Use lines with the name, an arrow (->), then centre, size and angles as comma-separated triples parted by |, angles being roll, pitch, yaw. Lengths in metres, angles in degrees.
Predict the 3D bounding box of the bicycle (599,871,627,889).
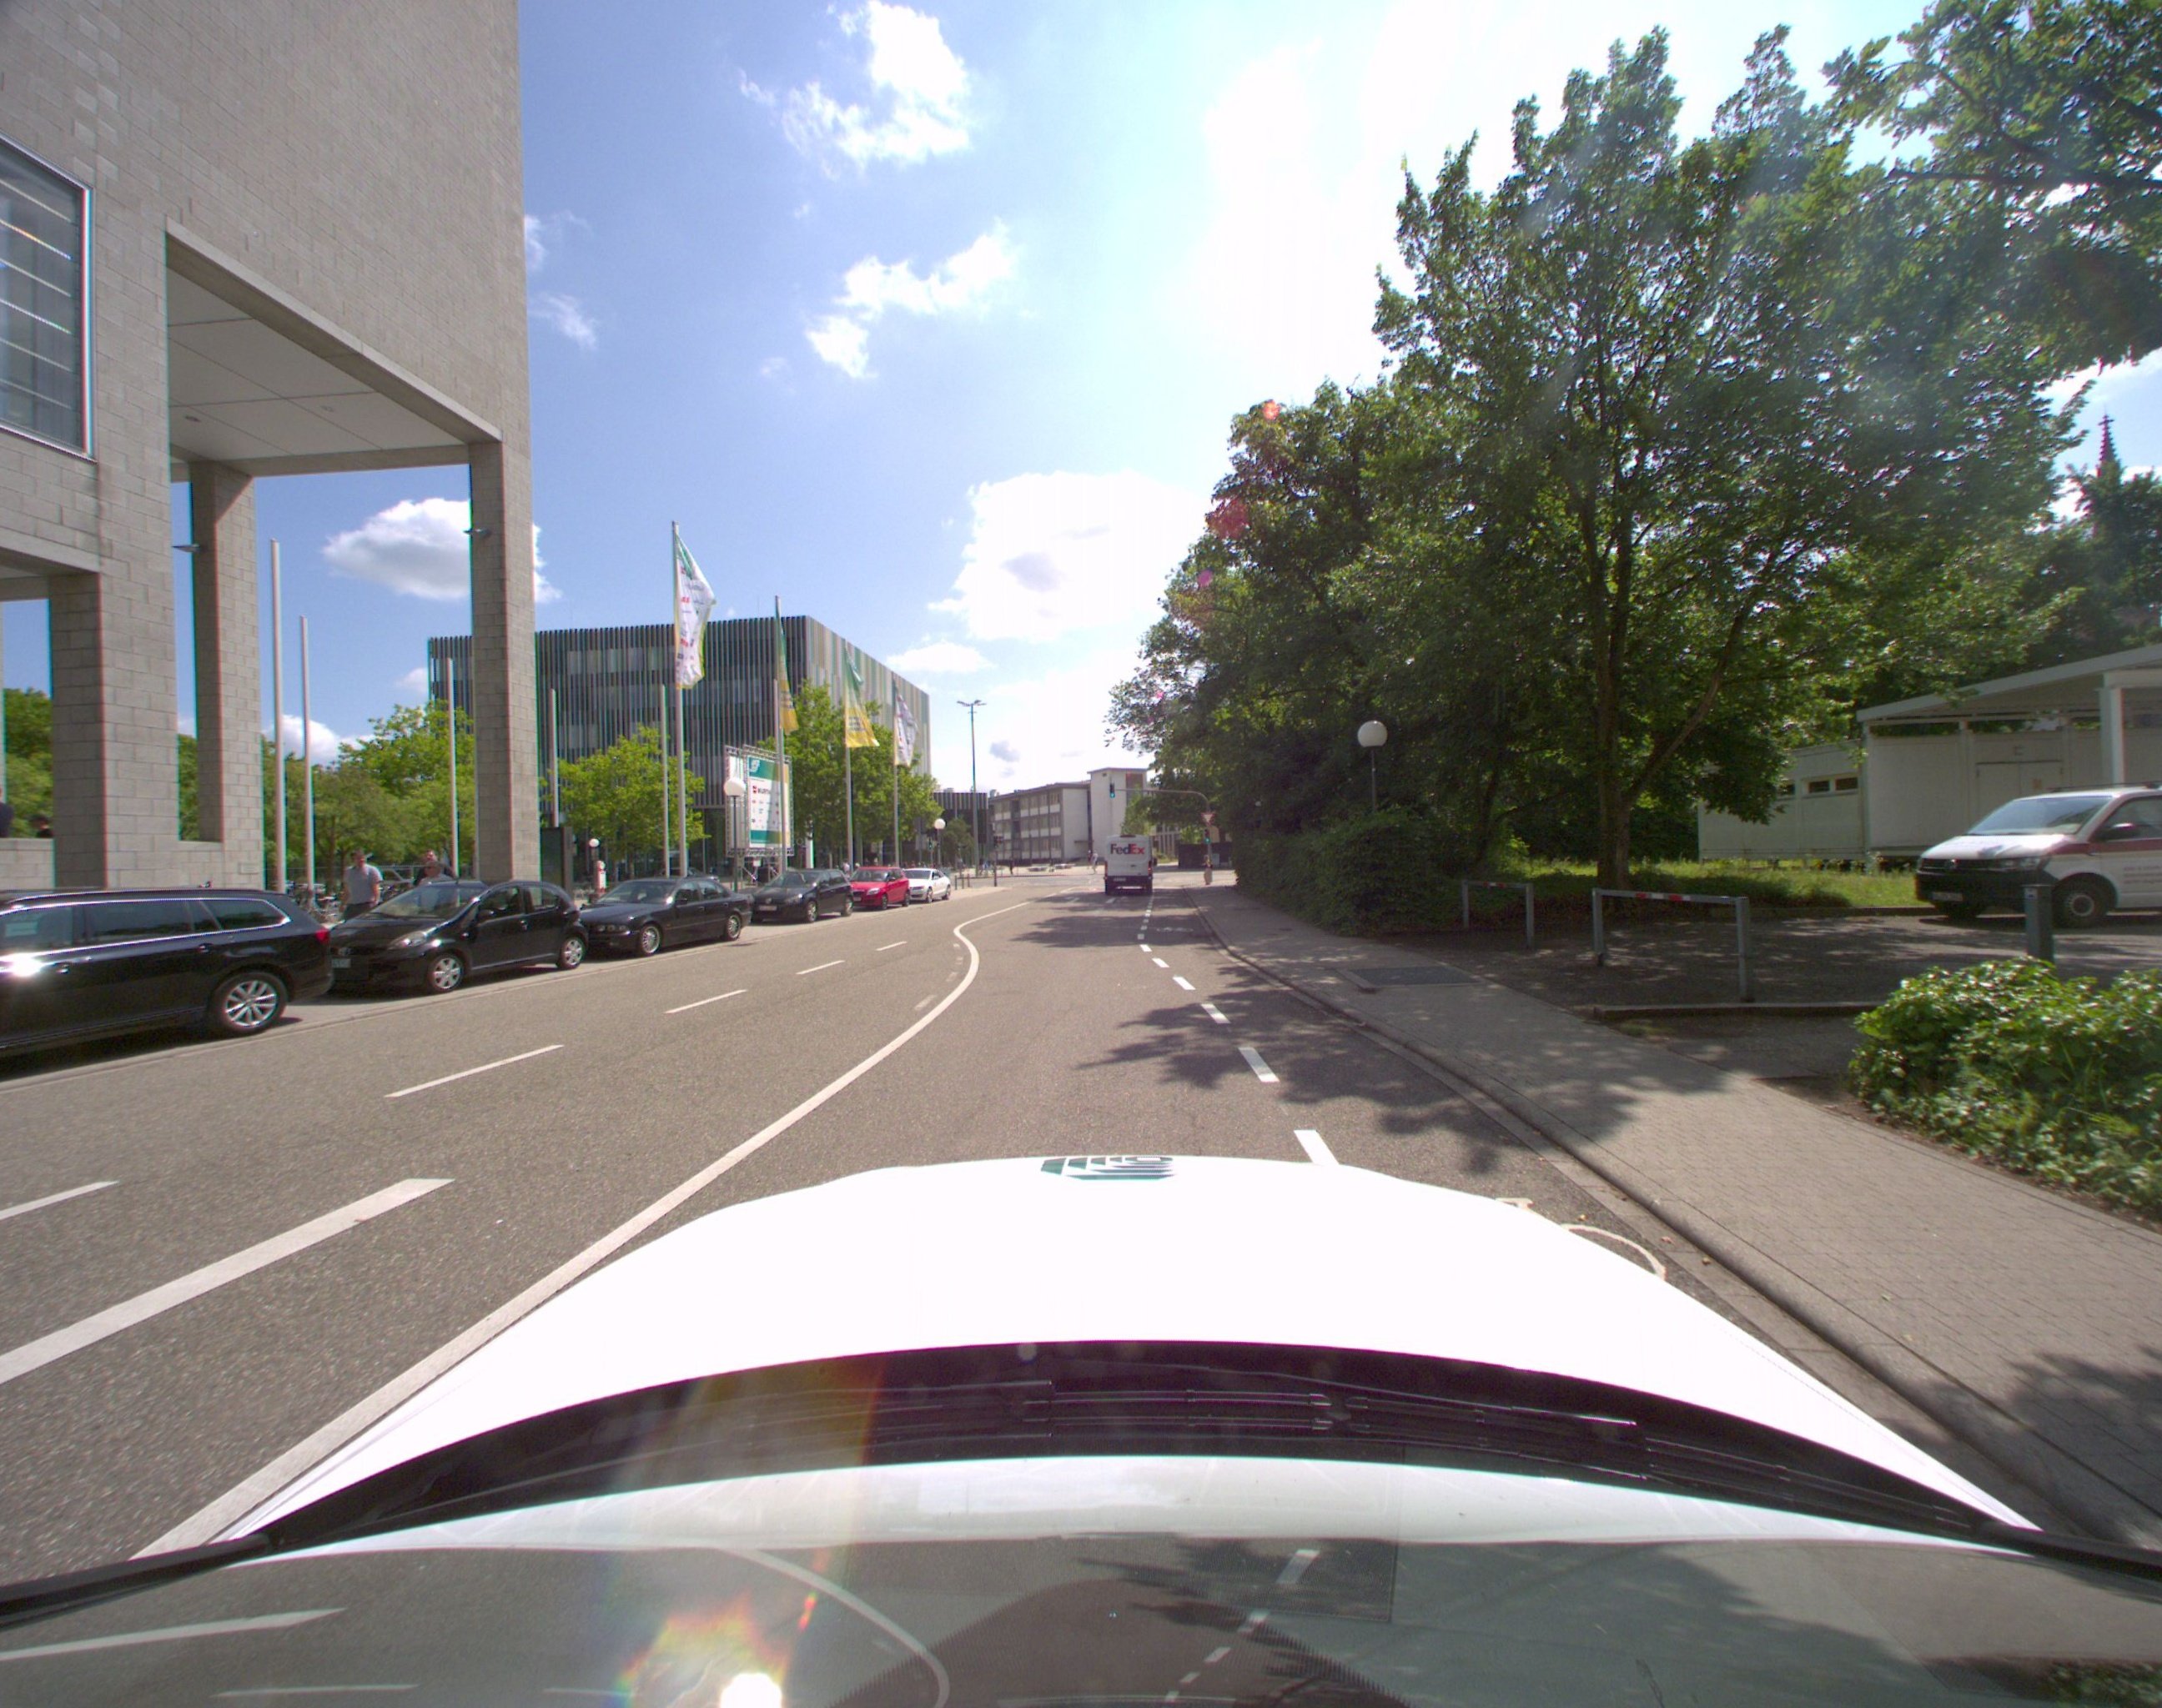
bicycle -> -51.260, 2.849, 89.239 | 0.953, 1.838, 2.959 | -1, -1, 9

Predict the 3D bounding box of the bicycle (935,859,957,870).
bicycle -> -15.769, 1.246, 95.079 | 1.207, 1.237, 2.916 | 0, -1, -40

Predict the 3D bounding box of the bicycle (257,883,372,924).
bicycle -> -28.874, 1.828, 30.752 | 2.949, 1.411, 1.141 | -1, -1, -17

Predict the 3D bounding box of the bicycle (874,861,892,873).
bicycle -> -21.958, 1.458, 90.270 | 1.204, 1.237, 2.922 | 0, -1, -30

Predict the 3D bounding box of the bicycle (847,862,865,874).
bicycle -> -24.495, 1.486, 88.630 | 1.204, 1.237, 2.923 | -1, -1, -29

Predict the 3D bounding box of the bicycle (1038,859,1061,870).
bicycle -> -4.345, 1.455, 112.146 | 2.976, 1.363, 1.106 | -1, -1, -32

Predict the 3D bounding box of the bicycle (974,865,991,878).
bicycle -> -8.759, 1.539, 72.427 | 0.765, 1.122, 2.034 | -2, 0, 16

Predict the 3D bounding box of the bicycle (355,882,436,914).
bicycle -> -32.694, 2.079, 38.934 | 1.055, 1.411, 2.960 | -1, -1, 11

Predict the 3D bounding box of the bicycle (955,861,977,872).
bicycle -> -13.586, 1.477, 96.466 | 1.207, 1.237, 2.916 | 0, -1, -40

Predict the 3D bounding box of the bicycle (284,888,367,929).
bicycle -> -24.811, 1.760, 26.802 | 0.646, 1.215, 2.098 | -1, -1, 6

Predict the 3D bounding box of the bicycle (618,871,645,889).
bicycle -> -49.042, 2.812, 88.938 | 0.953, 1.838, 2.959 | -1, -1, 9

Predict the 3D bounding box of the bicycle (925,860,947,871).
bicycle -> -16.748, 1.365, 94.246 | 1.207, 1.237, 2.916 | 0, -1, -40

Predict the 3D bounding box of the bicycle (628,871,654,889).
bicycle -> -47.930, 2.793, 88.776 | 0.954, 1.838, 2.958 | -1, -1, 8

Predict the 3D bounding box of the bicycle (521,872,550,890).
bicycle -> -60.528, 3.003, 90.453 | 0.981, 1.838, 2.956 | -1, -1, 6

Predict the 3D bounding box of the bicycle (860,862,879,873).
bicycle -> -23.267, 1.497, 89.586 | 1.204, 1.237, 2.923 | 0, -1, -30

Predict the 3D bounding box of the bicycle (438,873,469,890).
bicycle -> -70.311, 3.094, 91.335 | 0.954, 1.838, 2.956 | -1, -1, 6

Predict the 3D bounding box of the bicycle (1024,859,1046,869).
bicycle -> -6.553, 1.382, 115.743 | 2.976, 1.363, 1.106 | -1, -1, -32

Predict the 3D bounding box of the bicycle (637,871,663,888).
bicycle -> -46.862, 2.775, 88.588 | 0.954, 1.838, 2.958 | -1, -1, 8

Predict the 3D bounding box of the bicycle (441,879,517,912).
bicycle -> -28.147, 1.910, 38.158 | 1.008, 1.411, 2.960 | -1, -1, 11

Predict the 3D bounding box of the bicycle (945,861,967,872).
bicycle -> -14.698, 1.498, 95.766 | 1.207, 1.237, 2.916 | 0, -1, -40

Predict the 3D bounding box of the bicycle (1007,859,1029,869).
bicycle -> -9.283, 1.494, 120.309 | 2.976, 1.363, 1.106 | -1, -1, -32

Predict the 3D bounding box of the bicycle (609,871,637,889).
bicycle -> -50.069, 2.829, 89.076 | 0.953, 1.838, 2.959 | -1, -1, 9

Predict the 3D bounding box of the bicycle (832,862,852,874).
bicycle -> -25.806, 1.499, 87.936 | 1.382, 1.237, 2.923 | -1, -1, -29

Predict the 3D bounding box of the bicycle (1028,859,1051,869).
bicycle -> -5.885, 1.394, 114.662 | 2.976, 1.363, 1.263 | -1, -1, -32

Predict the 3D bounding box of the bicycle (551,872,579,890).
bicycle -> -56.954, 2.943, 89.967 | 0.954, 1.838, 2.956 | -1, -1, 7

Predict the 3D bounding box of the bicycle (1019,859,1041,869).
bicycle -> -7.326, 1.399, 116.982 | 2.976, 1.363, 1.106 | -1, -1, -32

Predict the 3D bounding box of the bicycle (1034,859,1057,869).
bicycle -> -4.972, 1.369, 113.309 | 2.976, 1.363, 1.106 | -1, -1, -32

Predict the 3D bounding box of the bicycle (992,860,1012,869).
bicycle -> -12.199, 1.571, 125.824 | 2.976, 1.363, 1.106 | -1, -1, -32

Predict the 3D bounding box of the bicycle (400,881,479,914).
bicycle -> -30.321, 2.013, 38.563 | 1.055, 1.411, 2.960 | -1, -1, 11

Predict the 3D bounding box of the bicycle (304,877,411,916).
bicycle -> -28.779, 1.672, 32.450 | 2.949, 1.411, 1.141 | -1, -1, -17

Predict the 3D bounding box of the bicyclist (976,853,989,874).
bicyclist -> -8.769, 0.863, 72.417 | 0.783, 1.817, 1.003 | -2, 0, 15

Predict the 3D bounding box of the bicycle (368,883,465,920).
bicycle -> -27.792, 1.953, 34.110 | 2.949, 1.411, 1.059 | -1, -1, -17

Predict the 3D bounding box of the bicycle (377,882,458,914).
bicycle -> -31.493, 2.065, 38.736 | 1.055, 1.411, 2.960 | -1, -1, 11

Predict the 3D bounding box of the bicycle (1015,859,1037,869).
bicycle -> -8.004, 1.422, 118.106 | 2.976, 1.363, 1.106 | -1, -1, -32

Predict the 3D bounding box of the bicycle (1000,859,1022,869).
bicycle -> -10.512, 1.531, 122.327 | 2.976, 1.363, 1.106 | -1, -1, -32

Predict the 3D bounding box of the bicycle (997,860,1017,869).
bicycle -> -11.256, 1.555, 123.886 | 2.976, 1.363, 1.106 | -1, -1, -32

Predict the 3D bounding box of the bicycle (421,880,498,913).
bicycle -> -29.207, 1.961, 38.373 | 1.008, 1.411, 2.960 | -1, -1, 11

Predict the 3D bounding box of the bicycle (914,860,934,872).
bicycle -> -18.094, 1.381, 93.765 | 1.205, 1.237, 2.921 | 0, -1, -32
